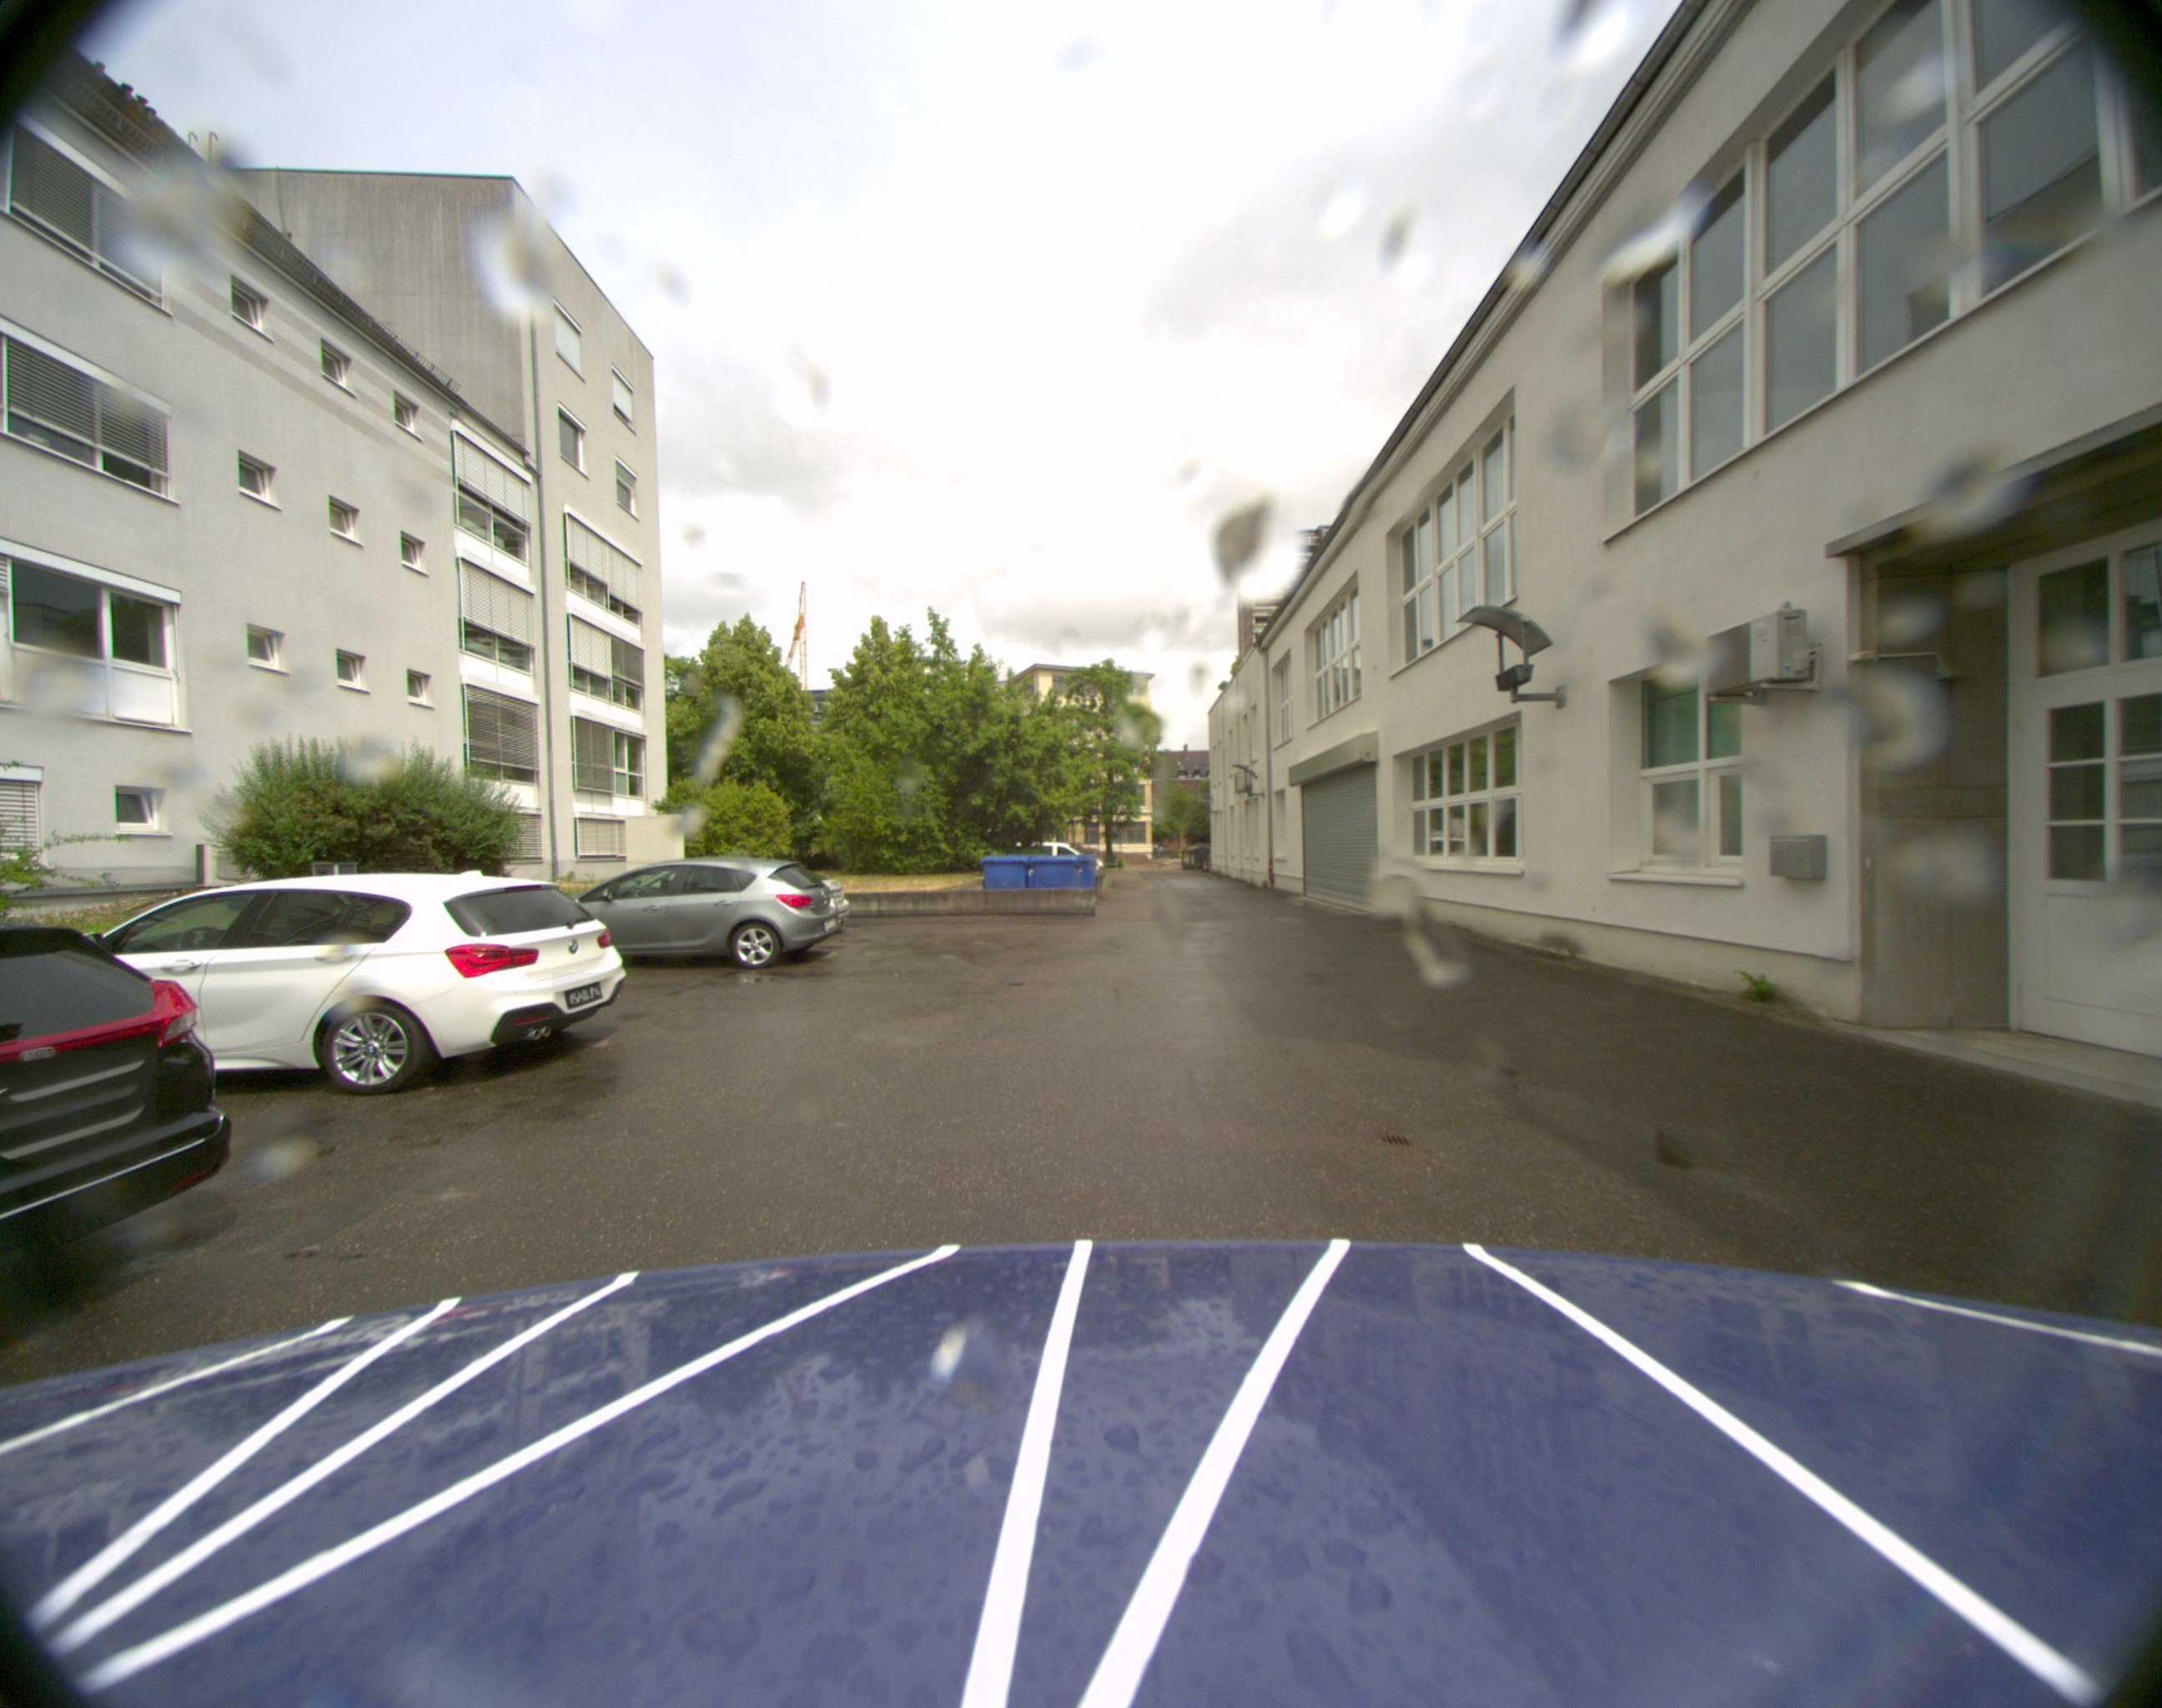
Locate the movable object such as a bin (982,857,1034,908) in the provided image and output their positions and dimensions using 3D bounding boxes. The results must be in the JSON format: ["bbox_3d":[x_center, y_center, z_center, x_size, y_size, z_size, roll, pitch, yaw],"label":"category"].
[{"bbox_3d":[-1.950,0.753,20.398,1.232,1.310,1.056,-1,0,2],"label":"movable object such as a bin"}]

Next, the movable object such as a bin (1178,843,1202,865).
[{"bbox_3d":[7.580,0.015,52.805,1.412,1.462,1.561,-3,0,2],"label":"movable object such as a bin"}]

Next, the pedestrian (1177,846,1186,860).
[{"bbox_3d":[10.840,-0.129,81.955,0.650,1.500,0.623,-2,1,-38],"label":"pedestrian"}]

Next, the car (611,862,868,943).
[{"bbox_3d":[-6.254,0.859,14.241,3.996,1.347,1.791,1,1,2],"label":"car"}]

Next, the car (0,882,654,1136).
[{"bbox_3d":[-5.743,0.990,5.597,4.108,1.447,1.832,0,1,-2],"label":"car"}]

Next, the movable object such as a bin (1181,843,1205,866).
[{"bbox_3d":[7.526,0.046,51.028,1.363,1.462,1.465,-3,0,2],"label":"movable object such as a bin"}]

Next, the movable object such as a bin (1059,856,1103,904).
[{"bbox_3d":[0.020,0.747,22.118,1.177,1.310,1.056,-3,0,2],"label":"movable object such as a bin"}]

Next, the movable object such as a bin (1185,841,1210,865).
[{"bbox_3d":[7.364,-0.075,48.133,1.363,1.462,1.366,-3,0,2],"label":"movable object such as a bin"}]

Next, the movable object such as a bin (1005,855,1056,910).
[{"bbox_3d":[-1.433,0.802,21.762,1.278,1.474,1.102,-3,0,2],"label":"movable object such as a bin"}]

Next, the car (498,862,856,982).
[{"bbox_3d":[-5.488,0.891,10.713,4.090,1.450,1.667,-1,2,-1],"label":"car"}]

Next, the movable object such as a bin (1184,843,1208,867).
[{"bbox_3d":[7.472,0.045,49.563,1.363,1.462,1.352,-3,0,2],"label":"movable object such as a bin"}]

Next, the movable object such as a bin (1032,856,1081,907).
[{"bbox_3d":[-0.642,0.721,20.325,1.232,1.310,1.056,-1,0,2],"label":"movable object such as a bin"}]

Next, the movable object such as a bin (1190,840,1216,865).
[{"bbox_3d":[7.426,-0.084,46.453,1.363,1.462,1.366,-3,0,2],"label":"movable object such as a bin"}]

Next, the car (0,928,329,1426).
[{"bbox_3d":[-5.395,1.068,2.264,4.182,1.393,1.938,-1,2,-4],"label":"car"}]

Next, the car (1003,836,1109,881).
[{"bbox_3d":[-1.172,0.220,37.342,4.947,2.002,2.000,-2,1,6],"label":"car"}]
